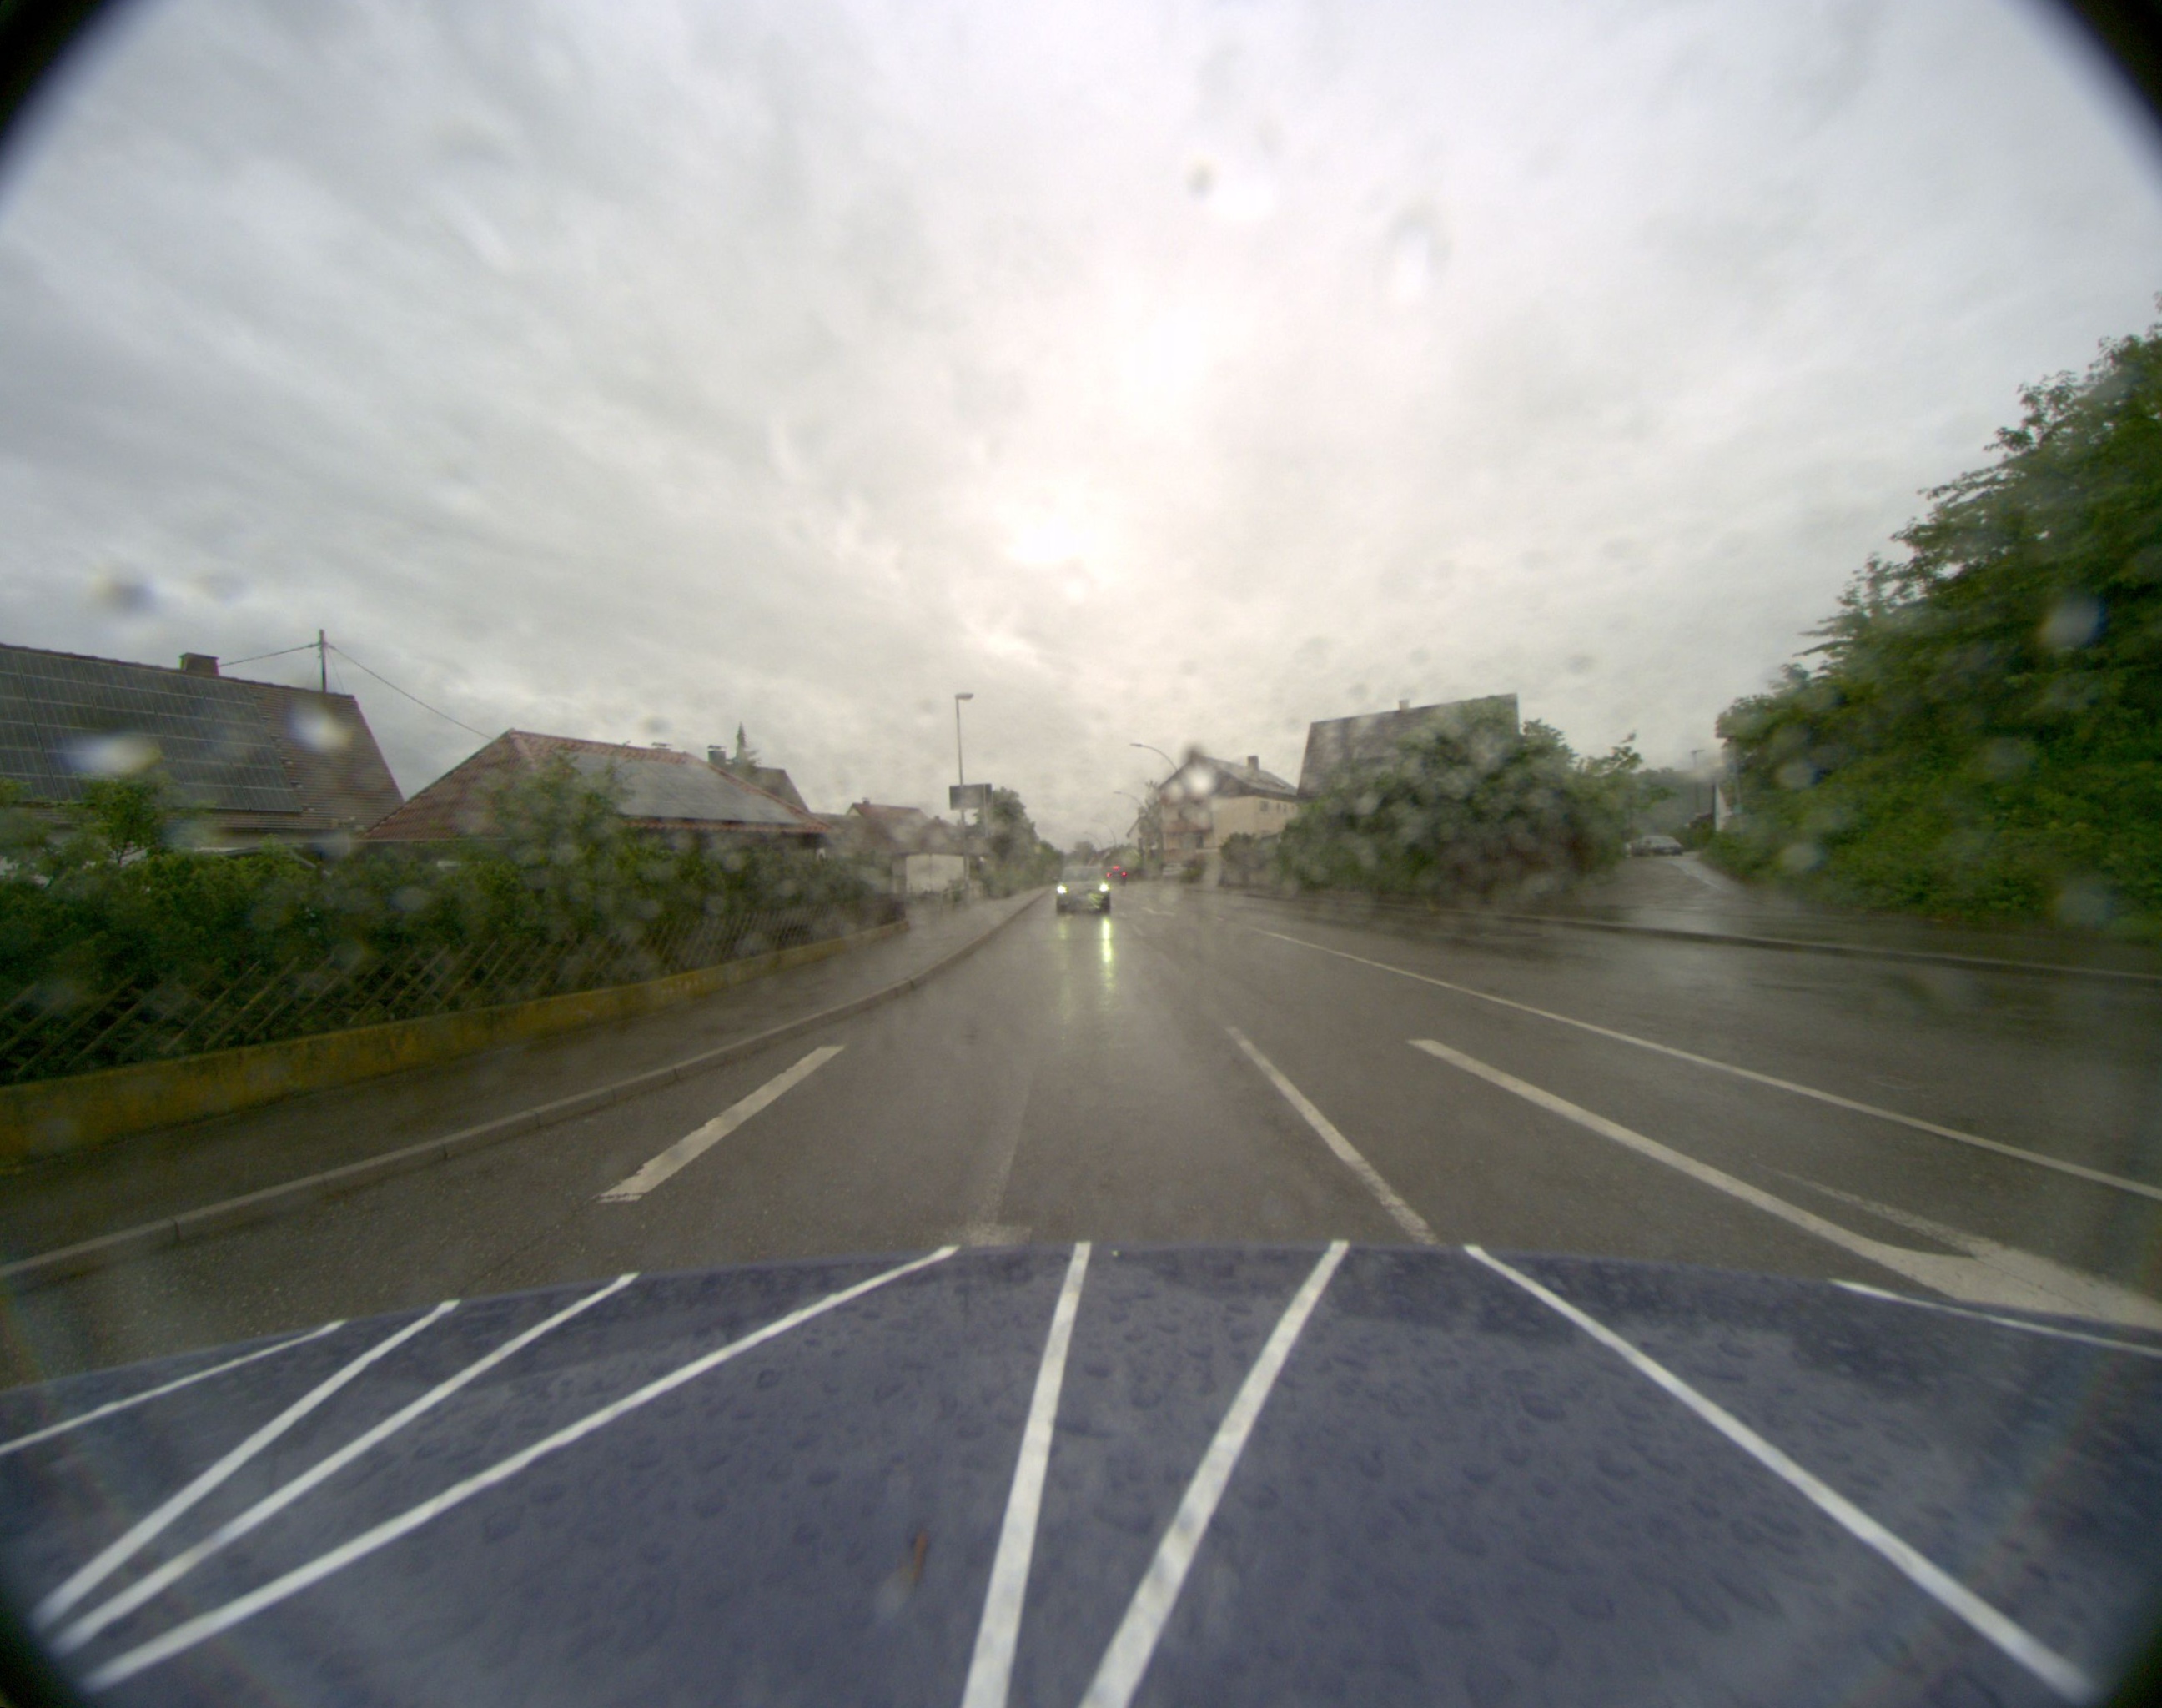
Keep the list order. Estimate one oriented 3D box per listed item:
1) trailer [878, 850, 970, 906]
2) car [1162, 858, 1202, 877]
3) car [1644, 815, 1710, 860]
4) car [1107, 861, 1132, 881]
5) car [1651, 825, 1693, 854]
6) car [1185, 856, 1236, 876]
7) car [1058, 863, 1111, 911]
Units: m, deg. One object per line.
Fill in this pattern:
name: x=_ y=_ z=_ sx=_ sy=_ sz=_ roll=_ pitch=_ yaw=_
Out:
trailer: x=-7.584 y=1.109 z=37.241 sx=1.645 sy=2.502 sz=4.712 roll=-3 pitch=-1 yaw=28
car: x=8.959 y=1.186 z=67.126 sx=1.864 sy=1.510 sz=4.007 roll=-3 pitch=0 yaw=32
car: x=22.961 y=-0.642 z=29.209 sx=1.706 sy=1.579 sz=3.669 roll=-2 pitch=0 yaw=42
car: x=3.410 y=1.531 z=68.459 sx=1.998 sy=1.658 sz=4.416 roll=-3 pitch=0 yaw=1
car: x=41.122 y=-1.036 z=52.849 sx=1.995 sy=1.848 sz=4.008 roll=-3 pitch=0 yaw=41
car: x=10.452 y=0.976 z=61.377 sx=3.661 sy=1.510 sz=1.758 roll=-3 pitch=0 yaw=35
car: x=0.120 y=1.121 z=27.127 sx=1.687 sy=1.486 sz=3.939 roll=-3 pitch=0 yaw=0
